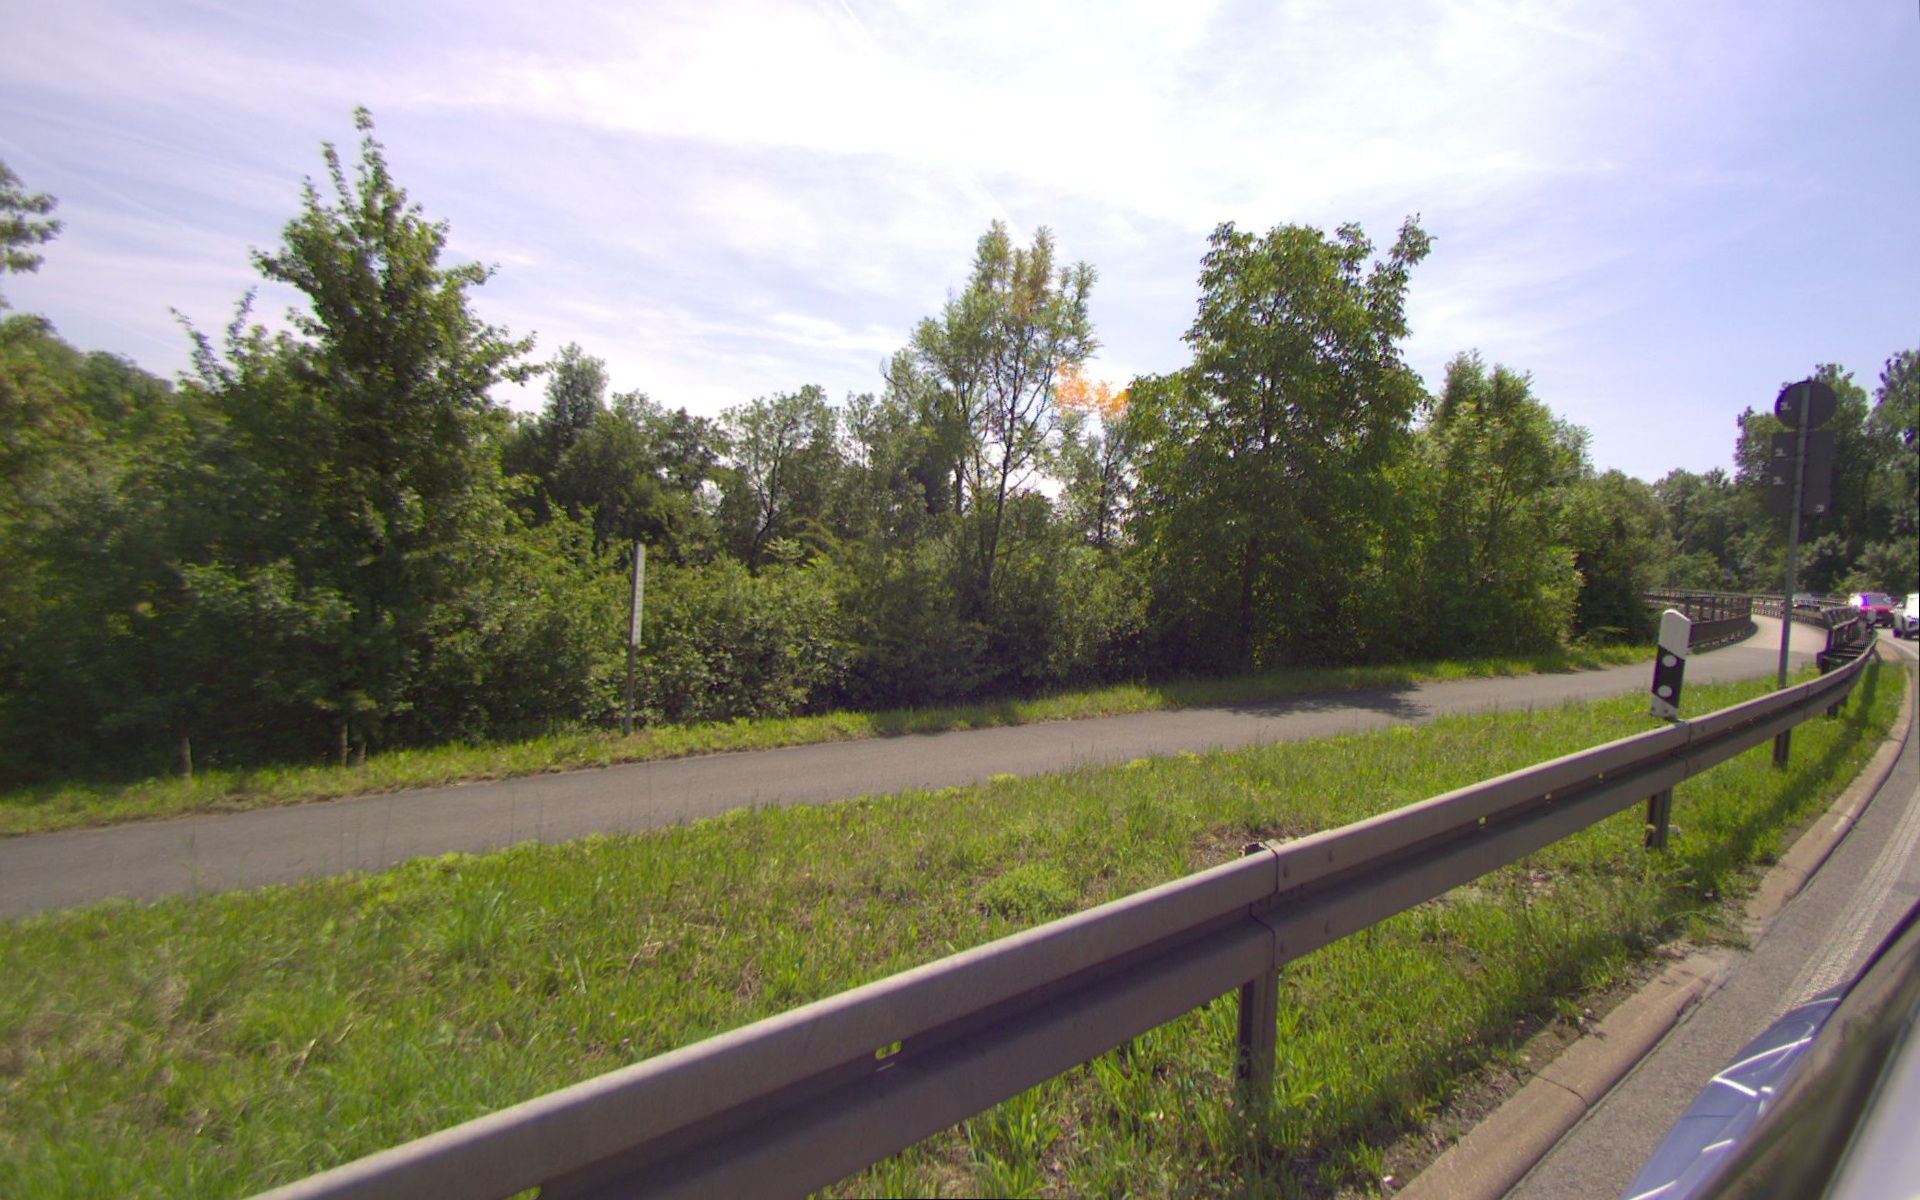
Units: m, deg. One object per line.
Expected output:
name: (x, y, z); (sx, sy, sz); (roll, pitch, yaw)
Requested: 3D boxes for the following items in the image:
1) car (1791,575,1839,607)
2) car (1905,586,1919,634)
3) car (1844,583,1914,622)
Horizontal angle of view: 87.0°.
car: (57.739, -0.635, 68.396); (1.985, 2.039, 3.954); (-1, 1, 33)
car: (35.099, 0.360, 35.940); (1.900, 1.668, 3.896); (0, 0, 38)
car: (43.820, 0.111, 48.350); (1.987, 1.798, 3.949); (0, 0, 35)
